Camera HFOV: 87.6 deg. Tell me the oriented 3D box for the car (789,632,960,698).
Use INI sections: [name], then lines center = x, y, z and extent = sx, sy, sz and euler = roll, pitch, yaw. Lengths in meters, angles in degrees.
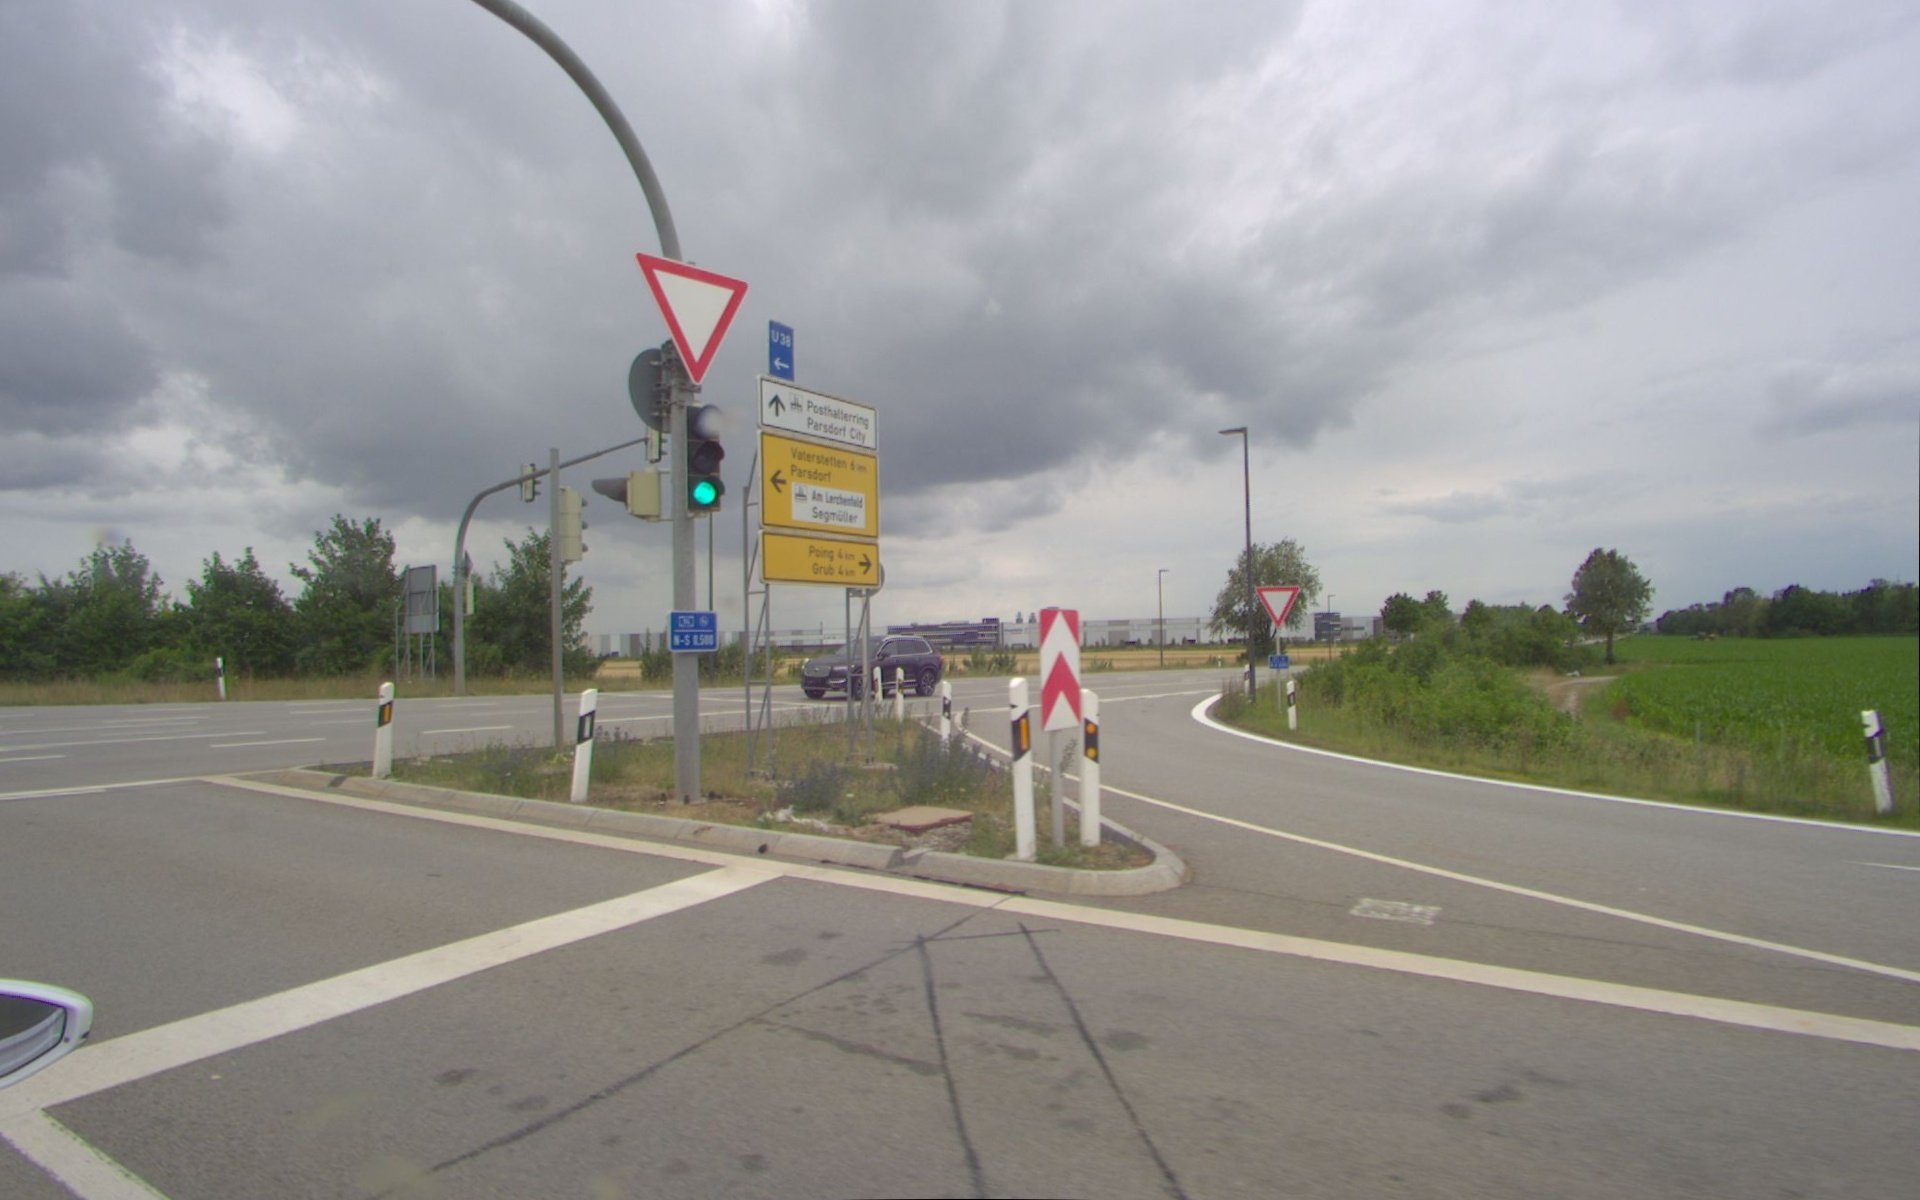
[car]
center = -2.333, 1.813, 28.649
extent = 1.977, 1.705, 4.961
euler = -2, -3, 40
